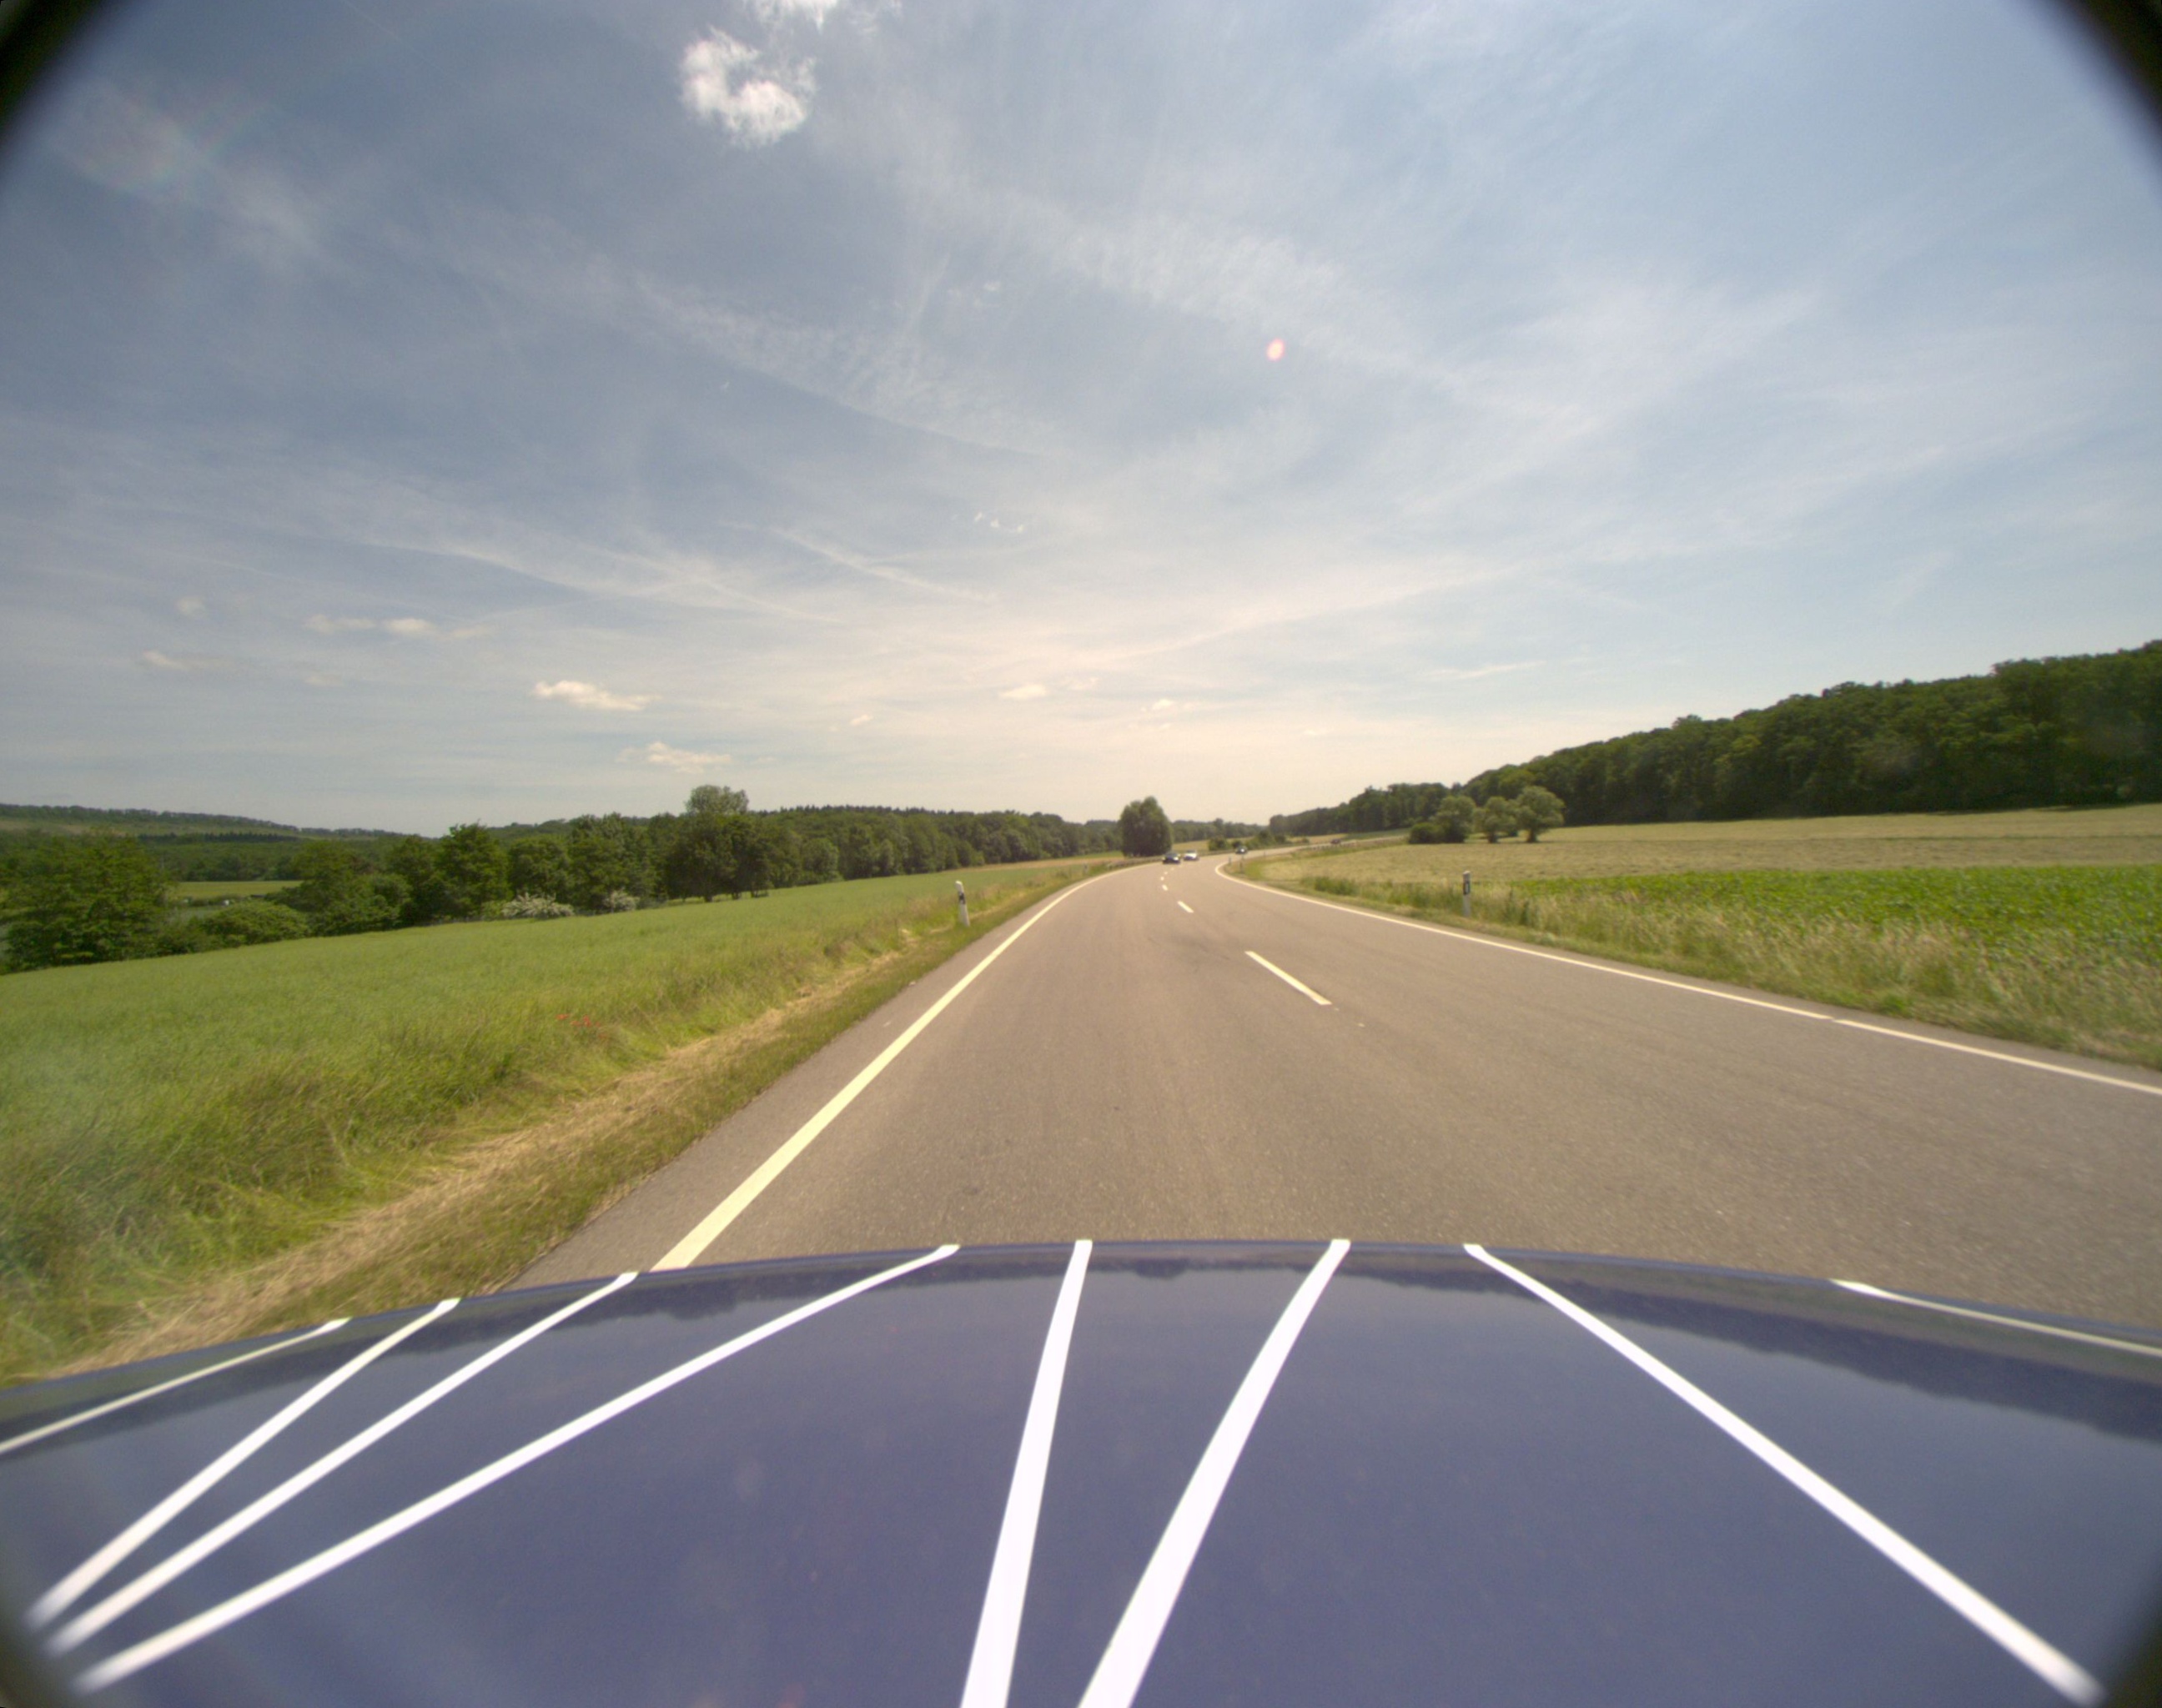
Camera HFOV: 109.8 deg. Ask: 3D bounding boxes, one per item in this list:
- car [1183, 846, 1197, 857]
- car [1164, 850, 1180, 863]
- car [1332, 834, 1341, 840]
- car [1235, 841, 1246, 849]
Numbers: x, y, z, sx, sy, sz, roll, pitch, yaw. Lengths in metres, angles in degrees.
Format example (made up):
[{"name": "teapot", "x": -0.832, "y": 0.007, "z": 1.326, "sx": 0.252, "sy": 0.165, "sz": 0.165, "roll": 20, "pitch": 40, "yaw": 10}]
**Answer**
[{"name": "car", "x": 15.421, "y": -0.341, "z": 107.400, "sx": 1.620, "sy": 1.429, "sz": 3.445, "roll": -2, "pitch": 2, "yaw": 13}, {"name": "car", "x": 10.713, "y": 0.231, "z": 89.545, "sx": 1.620, "sy": 1.428, "sz": 3.445, "roll": -1, "pitch": 1, "yaw": 11}, {"name": "car", "x": 73.985, "y": -4.929, "z": 219.817, "sx": 1.618, "sy": 1.429, "sz": 3.449, "roll": -1, "pitch": 3, "yaw": 35}, {"name": "car", "x": 31.231, "y": -1.701, "z": 148.906, "sx": 1.619, "sy": 1.429, "sz": 3.446, "roll": -1, "pitch": 2, "yaw": 19}]
